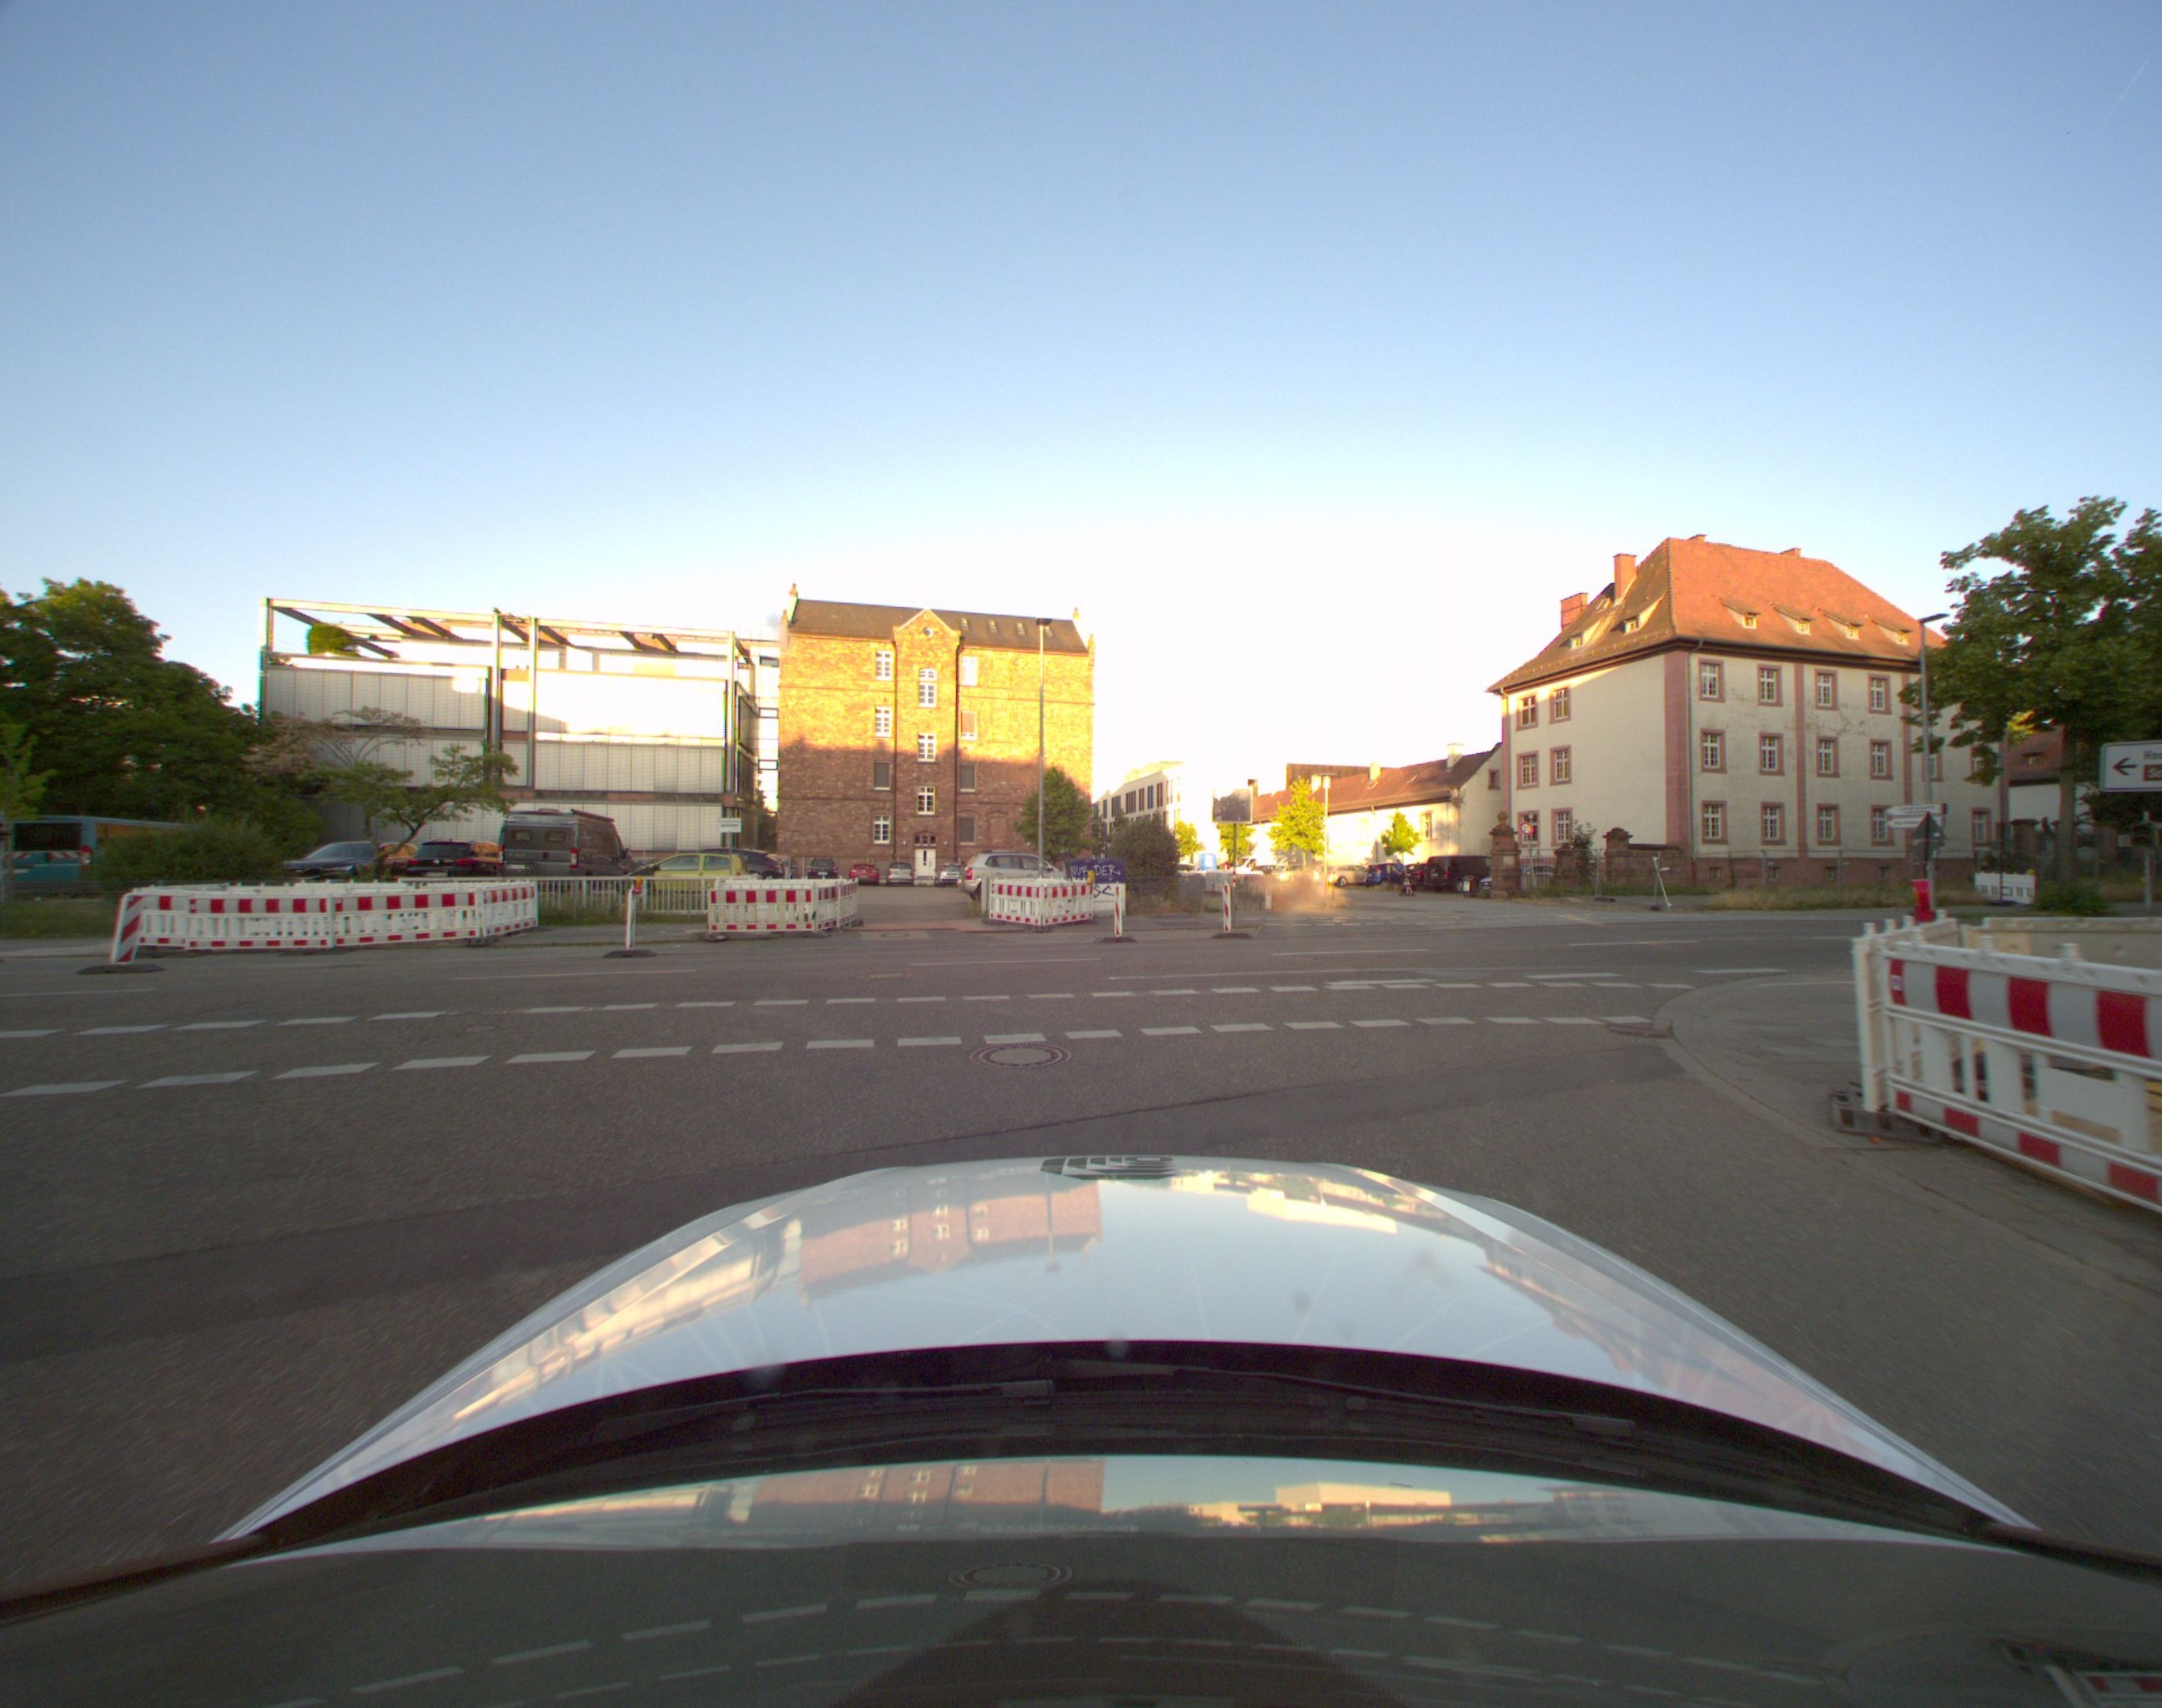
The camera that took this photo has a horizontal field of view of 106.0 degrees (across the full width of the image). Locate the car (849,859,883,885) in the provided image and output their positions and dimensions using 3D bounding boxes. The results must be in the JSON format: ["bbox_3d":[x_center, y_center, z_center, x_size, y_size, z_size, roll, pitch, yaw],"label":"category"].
[{"bbox_3d":[-13.206,1.068,50.102,1.899,1.537,4.160,0,0,-13],"label":"car"}]

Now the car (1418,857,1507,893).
[{"bbox_3d":[20.271,1.088,43.279,3.997,1.859,1.988,0,-1,-18],"label":"car"}]

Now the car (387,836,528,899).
[{"bbox_3d":[-18.466,0.384,24.368,1.998,1.692,3.978,0,-1,-16],"label":"car"}]

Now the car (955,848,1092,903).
[{"bbox_3d":[-1.904,0.669,26.797,4.277,1.709,1.694,0,-1,-15],"label":"car"}]

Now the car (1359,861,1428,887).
[{"bbox_3d":[19.378,1.240,50.513,3.750,1.529,1.677,0,-1,-18],"label":"car"}]

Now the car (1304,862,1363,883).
[{"bbox_3d":[17.827,1.314,57.492,3.750,1.445,1.677,0,-1,-18],"label":"car"}]

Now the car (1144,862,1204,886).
[{"bbox_3d":[6.440,1.379,56.407,3.750,1.603,1.677,0,-1,-18],"label":"car"}]

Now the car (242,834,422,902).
[{"bbox_3d":[-20.957,0.379,23.057,1.998,1.727,4.277,0,0,-16],"label":"car"}]

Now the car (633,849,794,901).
[{"bbox_3d":[-11.973,0.658,26.827,4.587,1.638,1.568,0,-1,-13],"label":"car"}]

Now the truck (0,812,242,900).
[{"bbox_3d":[-25.345,0.078,21.565,2.106,2.091,4.496,0,-1,-11],"label":"truck"}]

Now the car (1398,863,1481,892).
[{"bbox_3d":[20.188,1.305,45.932,3.997,1.573,1.988,0,-1,-18],"label":"car"}]

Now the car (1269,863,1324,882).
[{"bbox_3d":[16.189,1.387,61.212,3.750,1.445,1.677,0,-1,-18],"label":"car"}]

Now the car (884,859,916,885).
[{"bbox_3d":[-11.302,1.089,50.800,1.899,1.537,4.160,0,0,-13],"label":"car"}]

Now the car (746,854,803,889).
[{"bbox_3d":[-14.360,0.795,38.372,1.996,1.576,4.344,0,0,-13],"label":"car"}]

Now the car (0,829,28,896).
[{"bbox_3d":[-30.169,0.211,20.672,1.996,1.826,4.205,0,-1,-14],"label":"car"}]

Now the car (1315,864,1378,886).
[{"bbox_3d":[17.902,1.375,54.941,3.750,1.445,1.677,0,-1,-18],"label":"car"}]

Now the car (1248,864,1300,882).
[{"bbox_3d":[15.443,1.524,65.319,3.750,1.445,1.677,0,-1,-18],"label":"car"}]

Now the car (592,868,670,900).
[{"bbox_3d":[-20.044,1.288,36.454,1.942,1.306,4.344,0,0,-13],"label":"car"}]

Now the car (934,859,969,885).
[{"bbox_3d":[-8.213,1.092,51.396,1.899,1.537,4.160,0,0,-13],"label":"car"}]

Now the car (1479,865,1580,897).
[{"bbox_3d":[21.192,1.238,38.533,3.997,1.459,1.988,0,-1,-18],"label":"car"}]

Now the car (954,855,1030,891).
[{"bbox_3d":[-4.359,0.913,39.784,3.482,1.709,1.659,0,-1,-15],"label":"car"}]

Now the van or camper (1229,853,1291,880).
[{"bbox_3d":[15.076,1.090,68.666,4.975,2.240,1.677,0,-1,-18],"label":"van or camper"}]

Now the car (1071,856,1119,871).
[{"bbox_3d":[1.236,0.872,72.207,3.994,1.313,1.868,0,-1,-15],"label":"car"}]

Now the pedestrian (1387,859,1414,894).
[{"bbox_3d":[15.075,1.043,38.409,0.750,1.642,1.010,0,-1,-13],"label":"pedestrian"}]

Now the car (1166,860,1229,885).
[{"bbox_3d":[7.671,1.208,53.605,3.750,1.603,1.677,0,-1,-18],"label":"car"}]

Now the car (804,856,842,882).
[{"bbox_3d":[-15.699,0.912,49.792,1.899,1.537,4.160,0,0,-13],"label":"car"}]

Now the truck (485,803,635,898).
[{"bbox_3d":[-15.839,-0.084,25.142,2.336,2.617,4.950,0,-1,-13],"label":"truck"}]

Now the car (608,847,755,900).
[{"bbox_3d":[-11.843,0.570,24.385,3.635,1.504,1.630,0,-1,-13],"label":"car"}]

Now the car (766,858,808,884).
[{"bbox_3d":[-17.768,0.996,49.342,1.899,1.537,4.160,0,0,-13],"label":"car"}]

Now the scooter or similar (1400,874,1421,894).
[{"bbox_3d":[15.168,1.380,37.490,0.514,0.890,0.802,0,-1,-14],"label":"scooter or similar"}]
